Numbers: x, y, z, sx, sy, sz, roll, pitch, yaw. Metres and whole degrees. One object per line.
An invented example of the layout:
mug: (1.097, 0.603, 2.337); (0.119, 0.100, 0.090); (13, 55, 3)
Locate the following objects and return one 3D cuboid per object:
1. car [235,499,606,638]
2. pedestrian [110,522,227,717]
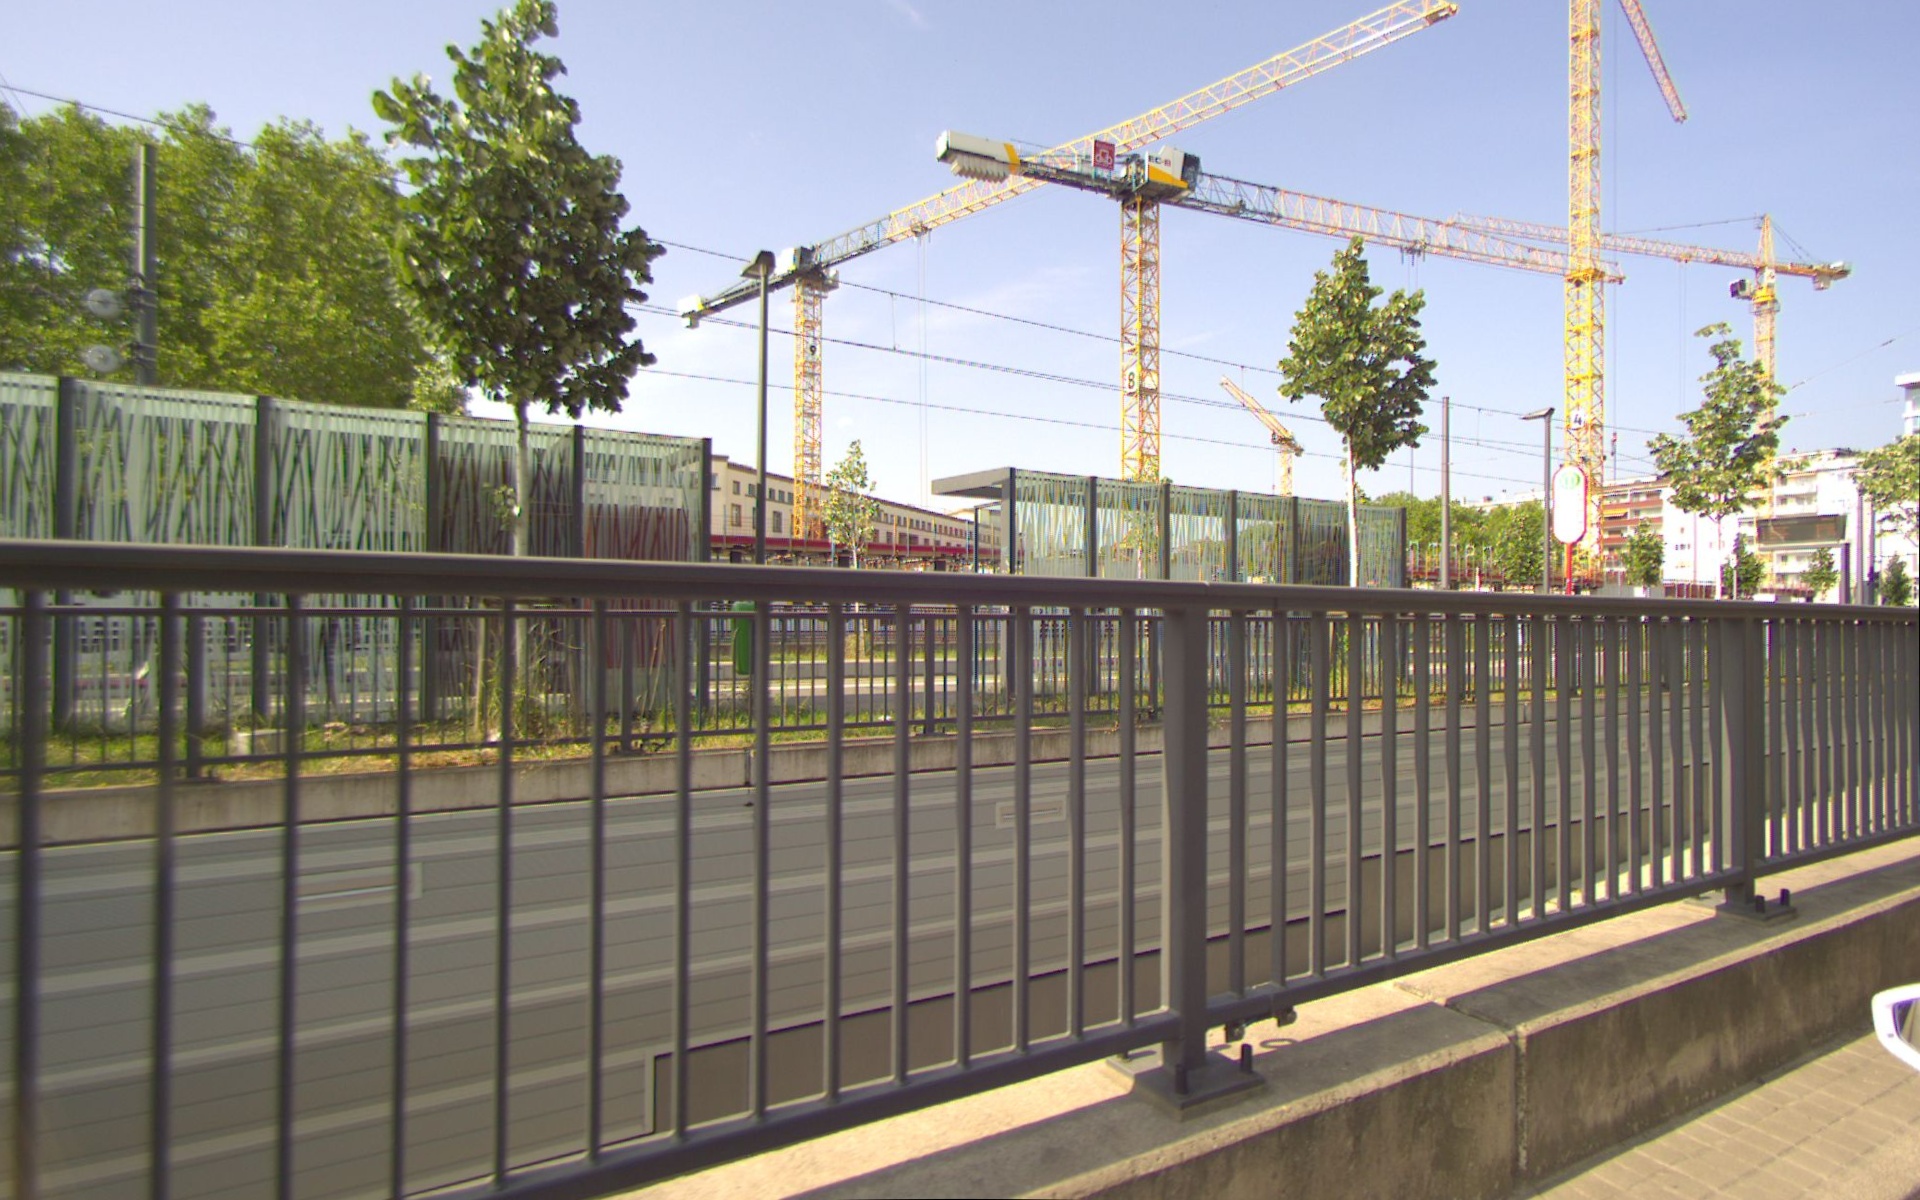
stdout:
car: (-15.396, -0.743, 29.393); (9.127, 3.559, 3.039); (1, 0, -31)
pedestrian: (-7.002, 0.170, 8.922); (0.702, 1.640, 0.732); (1, -1, -30)
